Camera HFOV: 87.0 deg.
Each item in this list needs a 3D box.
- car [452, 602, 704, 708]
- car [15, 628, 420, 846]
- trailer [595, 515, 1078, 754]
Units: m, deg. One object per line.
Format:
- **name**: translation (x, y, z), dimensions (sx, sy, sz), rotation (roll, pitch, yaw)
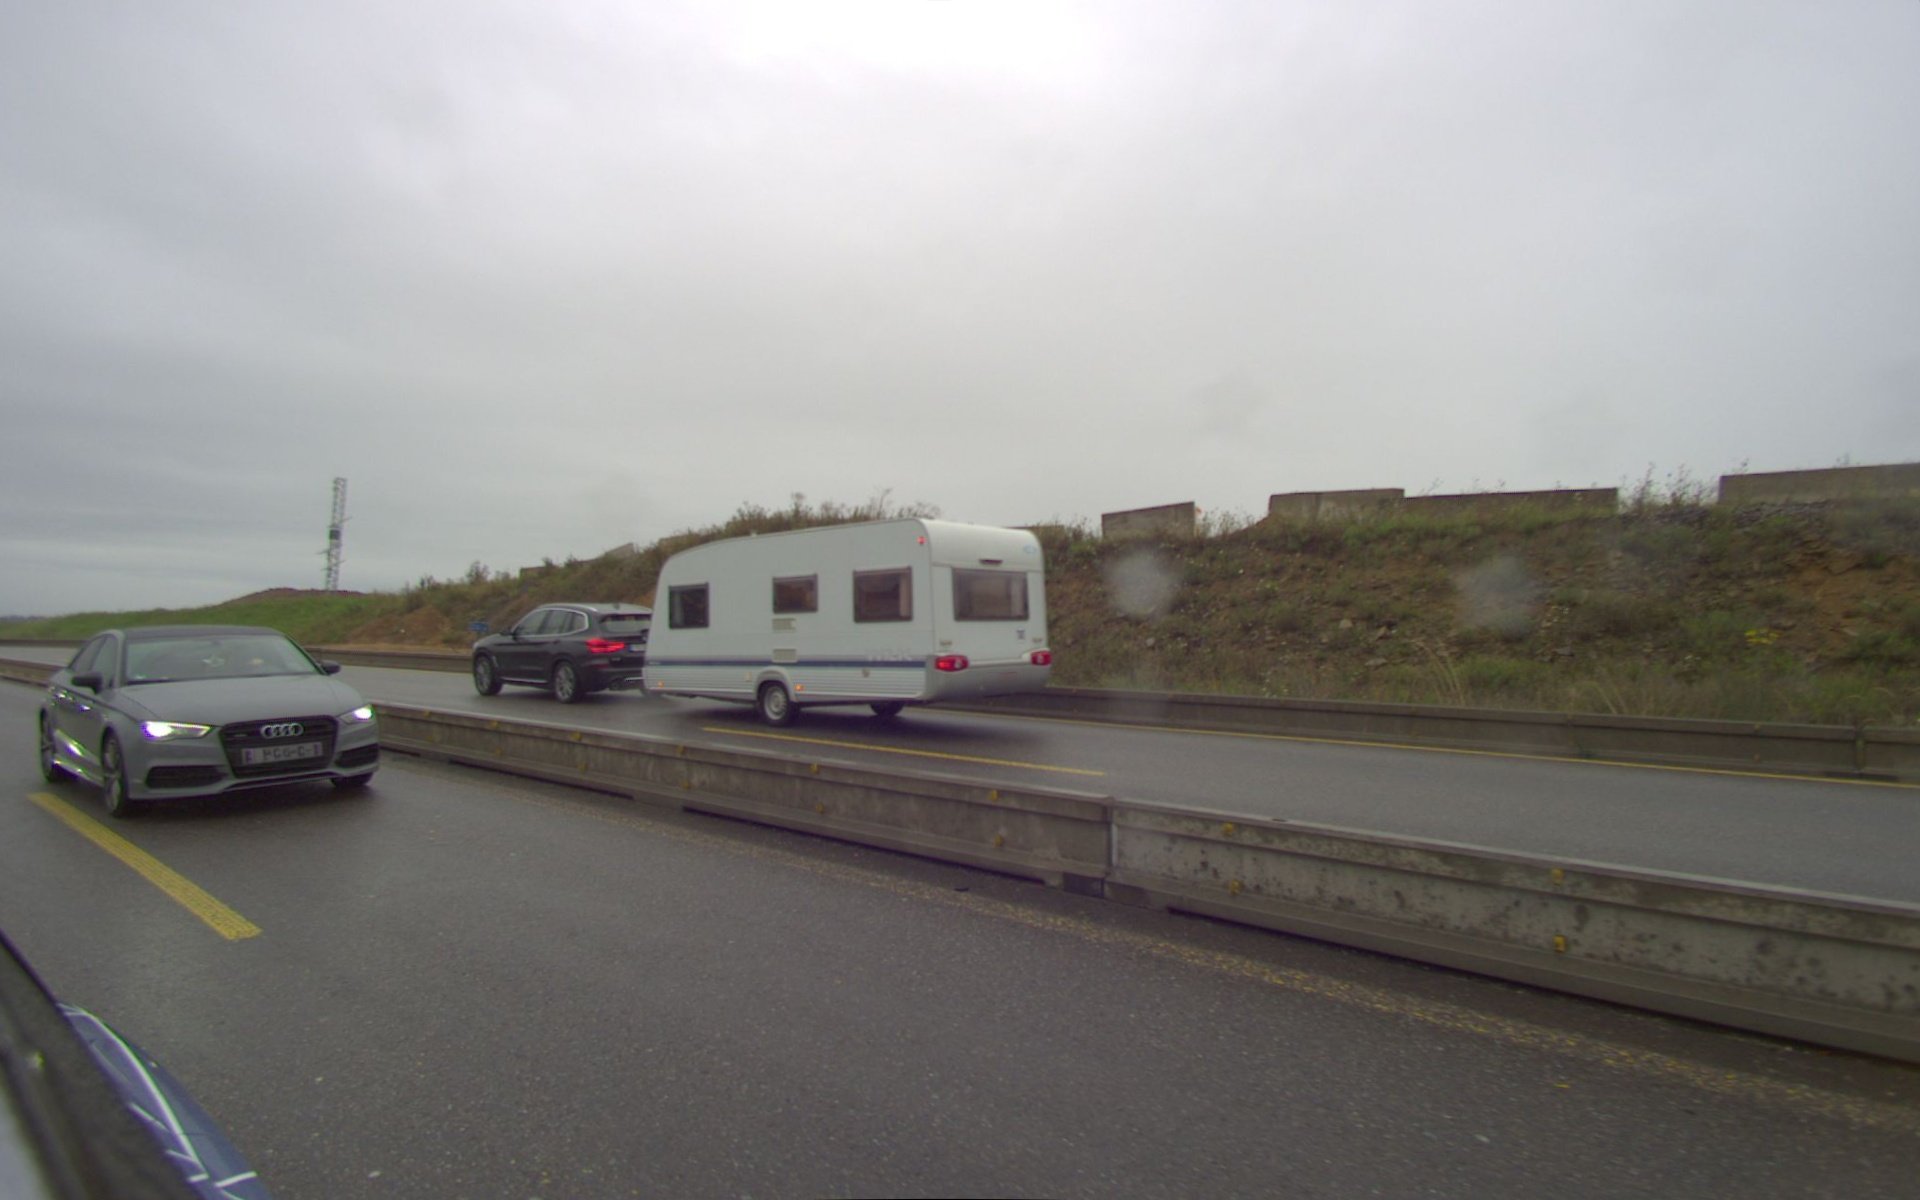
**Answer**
- **car**: translation (-6.932, 0.904, 18.059), dimensions (5.115, 1.598, 1.973), rotation (-2, 0, 40)
- **car**: translation (-6.549, 0.977, 8.780), dimensions (4.081, 1.393, 1.783), rotation (-1, -1, 38)
- **trailer**: translation (-2.052, 0.428, 14.175), dimensions (7.157, 2.584, 2.485), rotation (-2, 0, 40)
